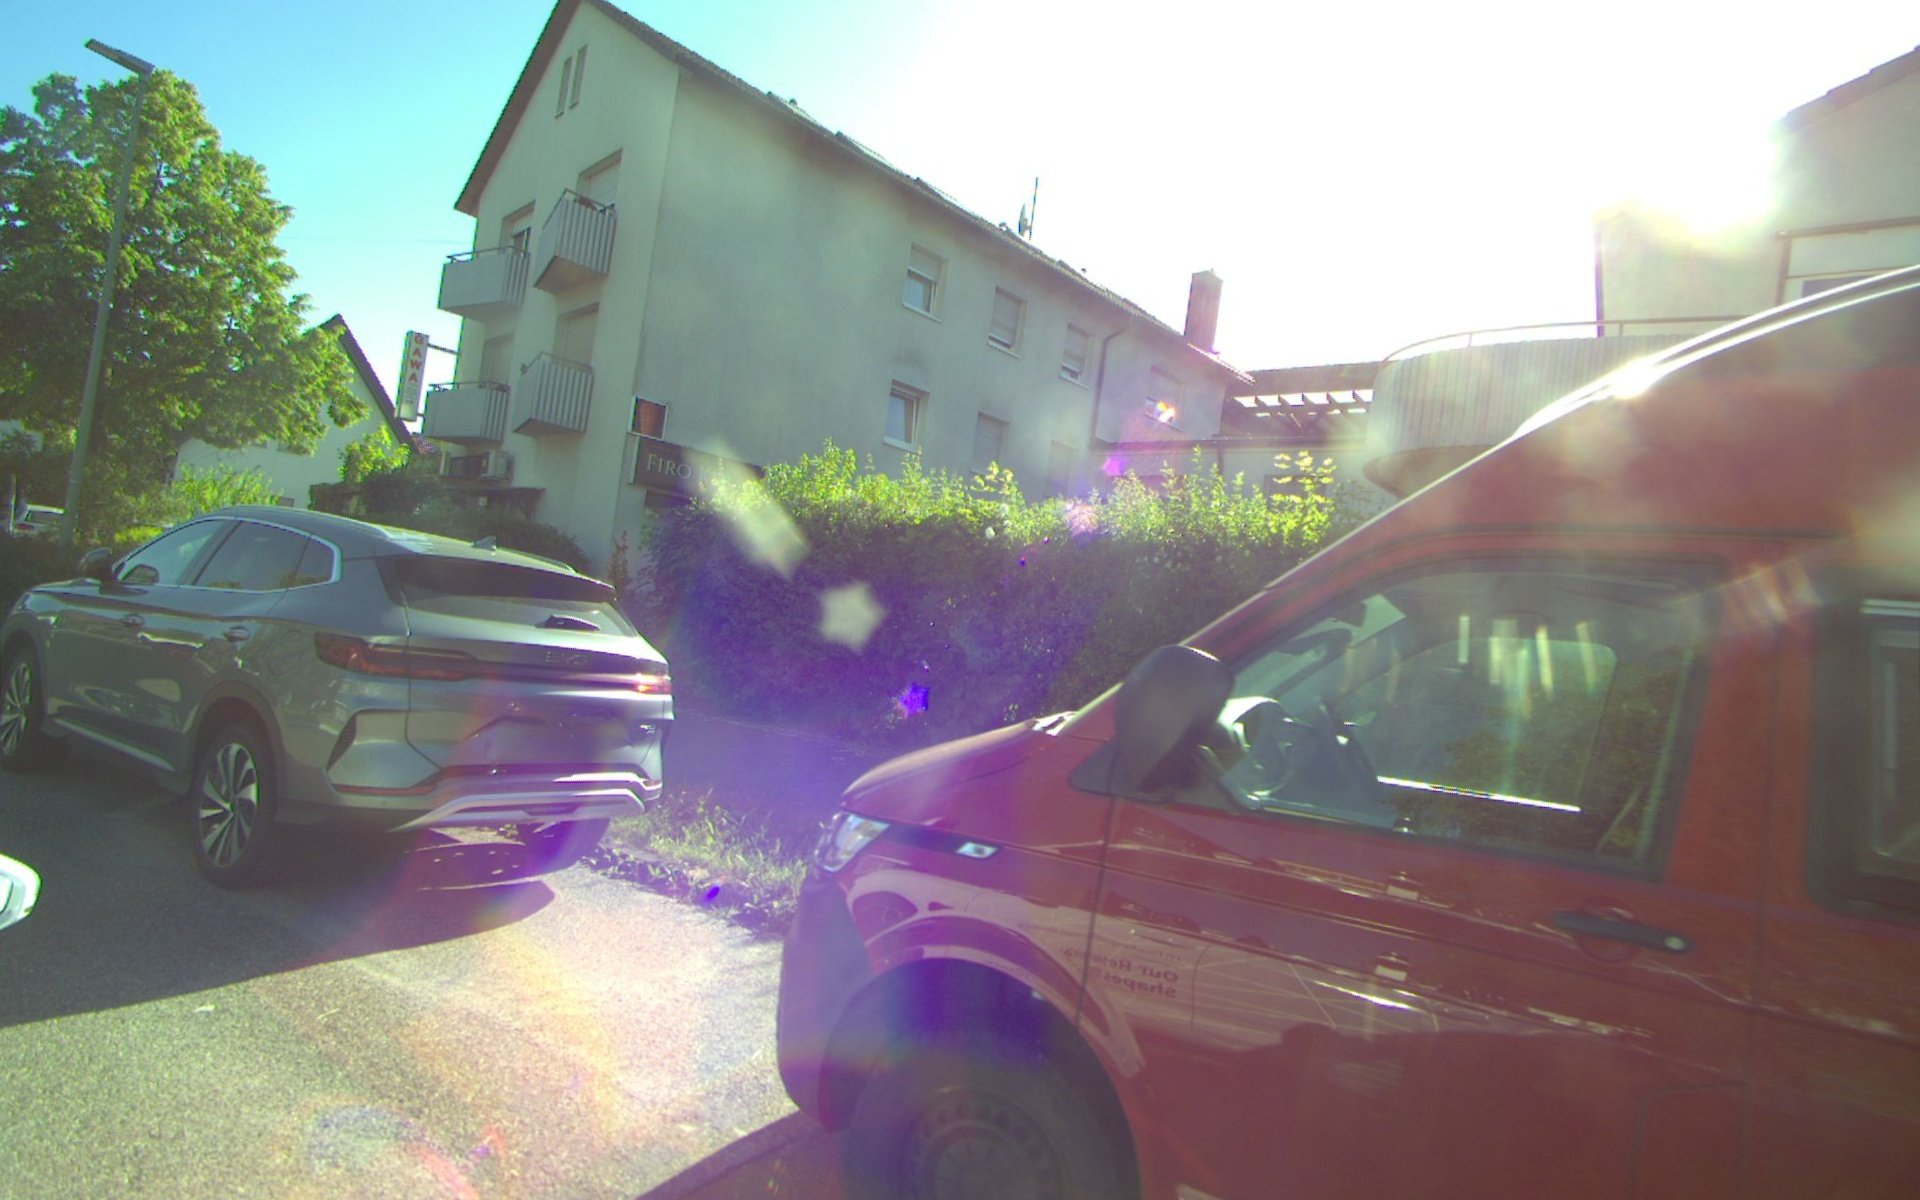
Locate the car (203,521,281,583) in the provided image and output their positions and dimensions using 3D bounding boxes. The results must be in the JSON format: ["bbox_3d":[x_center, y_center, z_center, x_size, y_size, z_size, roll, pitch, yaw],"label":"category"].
[{"bbox_3d":[-24.132,-1.648,33.750,1.702,1.569,4.354,11,-1,-39],"label":"car"}]

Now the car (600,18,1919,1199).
[{"bbox_3d":[1.917,0.559,2.288,5.133,2.674,1.963,7,-2,29],"label":"car"}]

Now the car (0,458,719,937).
[{"bbox_3d":[-3.874,0.320,5.962,4.499,1.757,1.962,7,-2,31],"label":"car"}]

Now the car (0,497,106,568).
[{"bbox_3d":[-26.864,-2.024,29.627,4.736,1.438,1.992,9,-1,43],"label":"car"}]
